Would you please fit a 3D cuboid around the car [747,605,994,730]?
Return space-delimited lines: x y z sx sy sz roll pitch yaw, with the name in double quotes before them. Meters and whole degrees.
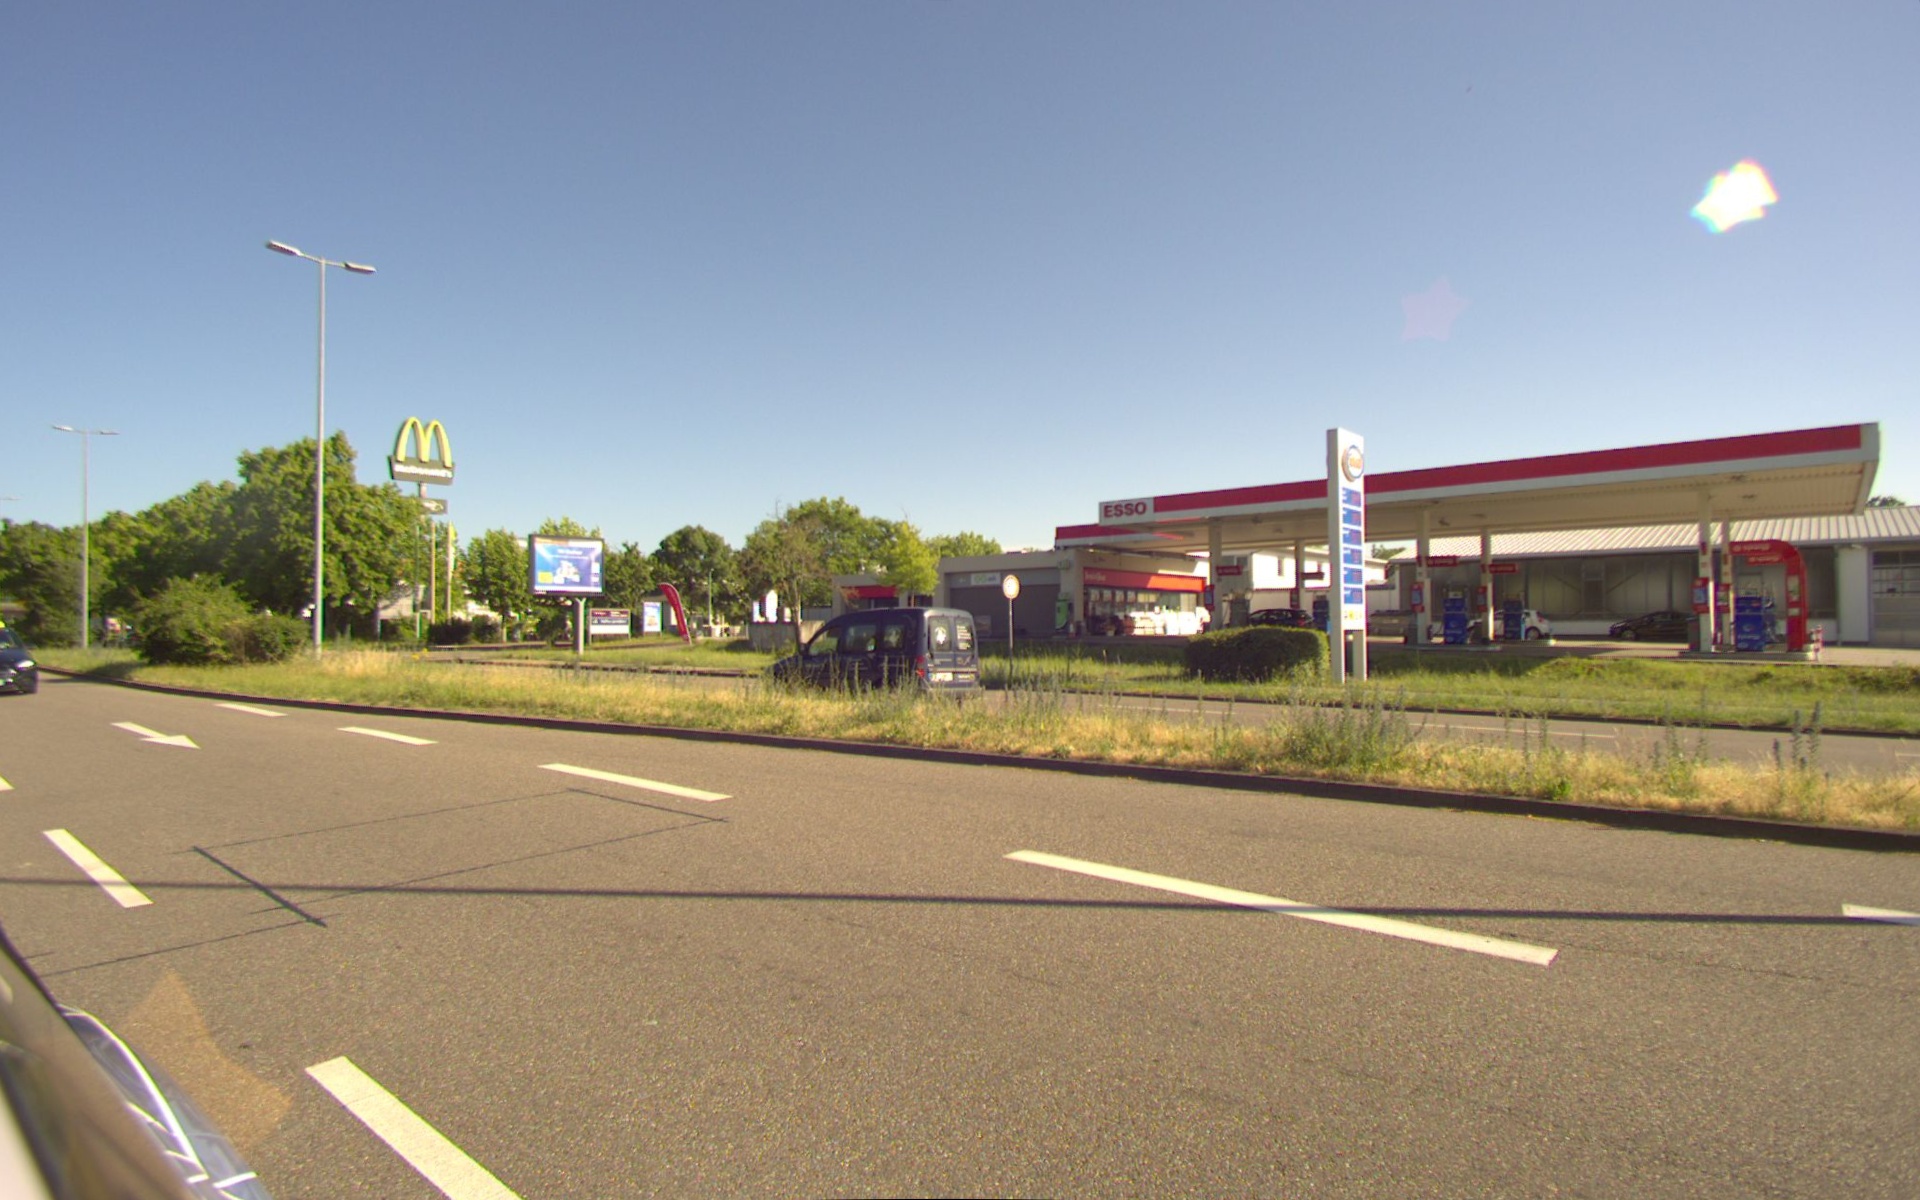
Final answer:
"car" -1.622 1.042 17.227 4.292 1.862 1.660 -1 0 41

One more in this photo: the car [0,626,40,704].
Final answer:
"car" -21.938 1.407 22.416 4.580 1.614 1.765 -2 -2 41

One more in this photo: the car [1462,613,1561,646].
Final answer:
"car" 26.719 1.388 49.066 3.855 1.500 1.973 -1 0 41

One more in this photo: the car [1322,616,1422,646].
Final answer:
"car" 21.954 1.632 54.003 4.540 1.477 1.973 -1 0 41

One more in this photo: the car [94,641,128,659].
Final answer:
"car" -88.190 5.192 105.101 4.769 1.640 1.973 -1 0 41

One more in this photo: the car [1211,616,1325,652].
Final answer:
"car" 12.557 1.385 41.341 3.998 1.416 1.973 -2 -2 41

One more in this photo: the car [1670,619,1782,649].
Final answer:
"car" 32.938 1.448 43.538 3.730 1.196 1.657 -1 0 41
